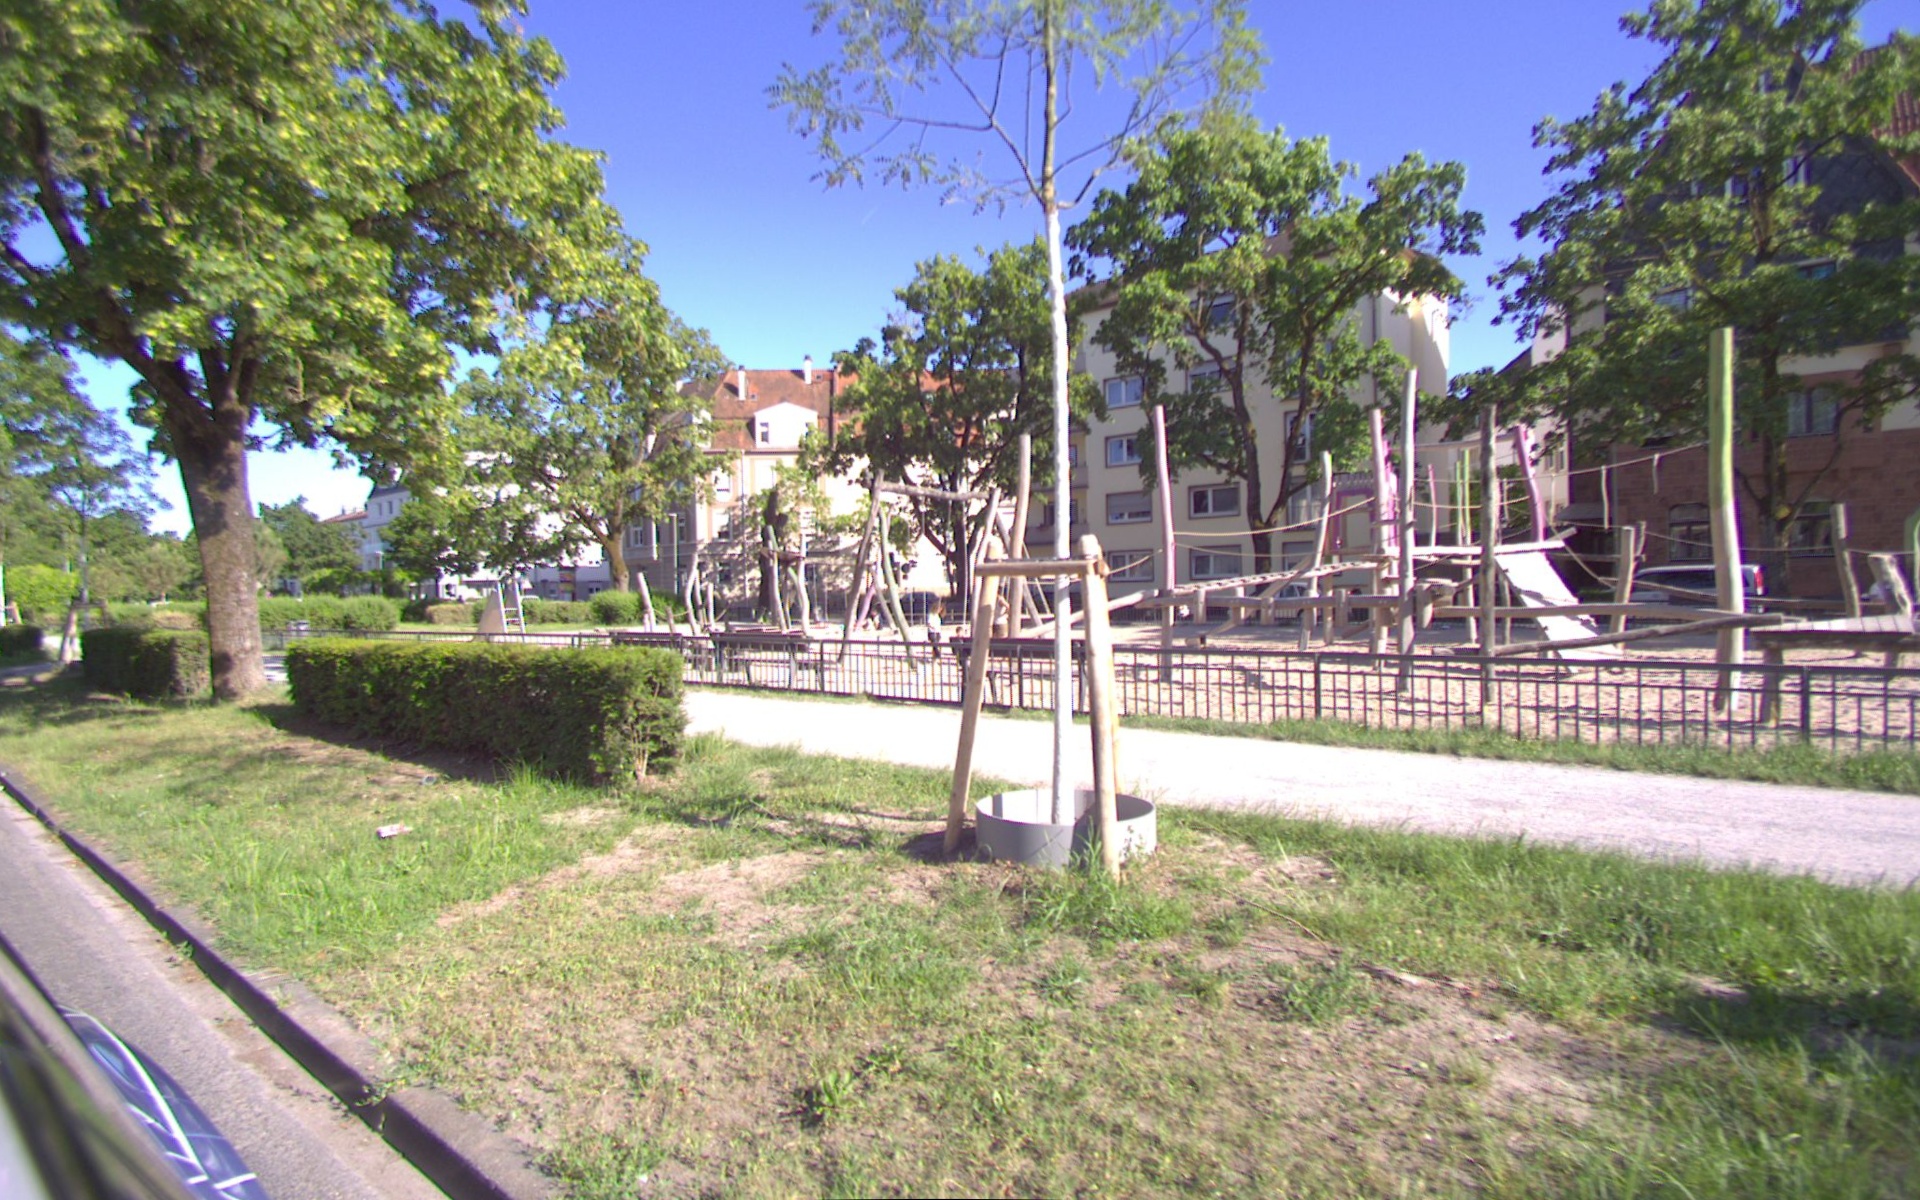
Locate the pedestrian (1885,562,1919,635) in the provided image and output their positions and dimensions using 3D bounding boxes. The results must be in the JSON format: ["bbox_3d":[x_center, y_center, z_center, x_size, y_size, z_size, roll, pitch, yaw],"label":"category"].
[{"bbox_3d":[17.655,-0.028,18.768,0.649,1.328,0.642,-1,1,38],"label":"pedestrian"}]

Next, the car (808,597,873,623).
[{"bbox_3d":[-7.714,0.612,65.168,3.933,1.521,1.805,-1,1,-14],"label":"car"}]

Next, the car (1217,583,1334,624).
[{"bbox_3d":[12.409,0.140,39.944,3.998,1.521,1.776,-1,1,41],"label":"car"}]

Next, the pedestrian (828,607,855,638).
[{"bbox_3d":[-3.981,0.756,34.102,0.535,0.986,0.779,-2,1,-42],"label":"pedestrian"}]

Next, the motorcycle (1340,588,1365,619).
[{"bbox_3d":[14.706,0.110,37.913,0.499,1.116,1.780,-1,1,33],"label":"motorcycle"}]

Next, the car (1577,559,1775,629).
[{"bbox_3d":[22.040,-0.168,31.292,4.833,1.997,1.776,-1,1,41],"label":"car"}]

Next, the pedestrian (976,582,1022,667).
[{"bbox_3d":[0.792,0.477,20.516,0.639,1.674,0.652,-2,1,-31],"label":"pedestrian"}]

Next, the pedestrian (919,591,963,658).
[{"bbox_3d":[-0.398,0.502,20.971,0.639,1.339,0.652,-2,1,-31],"label":"pedestrian"}]

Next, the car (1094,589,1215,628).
[{"bbox_3d":[8.330,0.376,43.593,4.760,1.521,1.887,-1,1,40],"label":"car"}]
